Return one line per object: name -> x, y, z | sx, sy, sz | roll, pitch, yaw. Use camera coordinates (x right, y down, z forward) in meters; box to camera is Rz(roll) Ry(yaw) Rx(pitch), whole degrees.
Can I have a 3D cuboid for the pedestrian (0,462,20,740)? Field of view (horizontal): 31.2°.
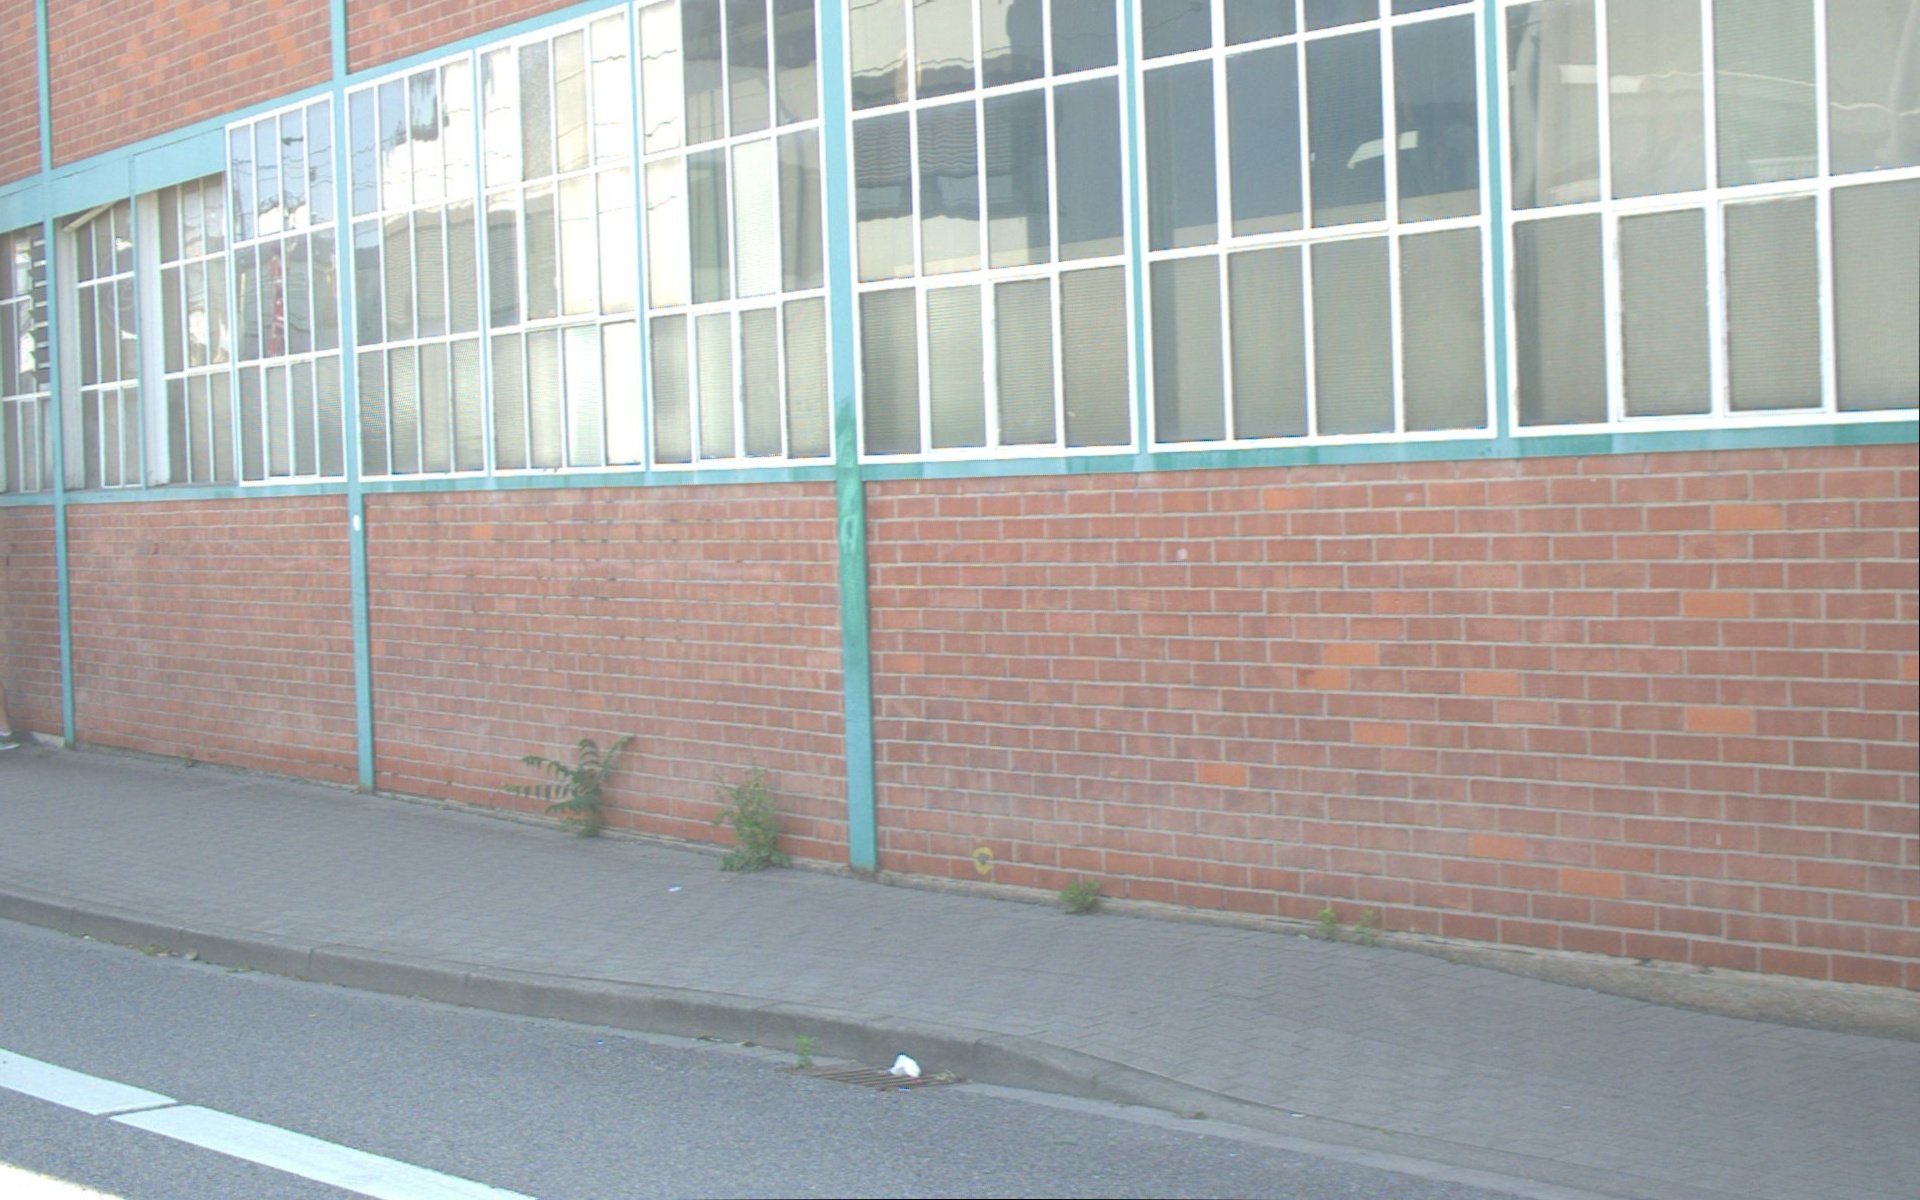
pedestrian -> -6.387, 0.009, 21.811 | 0.684, 1.758, 0.449 | -2, 4, -31
